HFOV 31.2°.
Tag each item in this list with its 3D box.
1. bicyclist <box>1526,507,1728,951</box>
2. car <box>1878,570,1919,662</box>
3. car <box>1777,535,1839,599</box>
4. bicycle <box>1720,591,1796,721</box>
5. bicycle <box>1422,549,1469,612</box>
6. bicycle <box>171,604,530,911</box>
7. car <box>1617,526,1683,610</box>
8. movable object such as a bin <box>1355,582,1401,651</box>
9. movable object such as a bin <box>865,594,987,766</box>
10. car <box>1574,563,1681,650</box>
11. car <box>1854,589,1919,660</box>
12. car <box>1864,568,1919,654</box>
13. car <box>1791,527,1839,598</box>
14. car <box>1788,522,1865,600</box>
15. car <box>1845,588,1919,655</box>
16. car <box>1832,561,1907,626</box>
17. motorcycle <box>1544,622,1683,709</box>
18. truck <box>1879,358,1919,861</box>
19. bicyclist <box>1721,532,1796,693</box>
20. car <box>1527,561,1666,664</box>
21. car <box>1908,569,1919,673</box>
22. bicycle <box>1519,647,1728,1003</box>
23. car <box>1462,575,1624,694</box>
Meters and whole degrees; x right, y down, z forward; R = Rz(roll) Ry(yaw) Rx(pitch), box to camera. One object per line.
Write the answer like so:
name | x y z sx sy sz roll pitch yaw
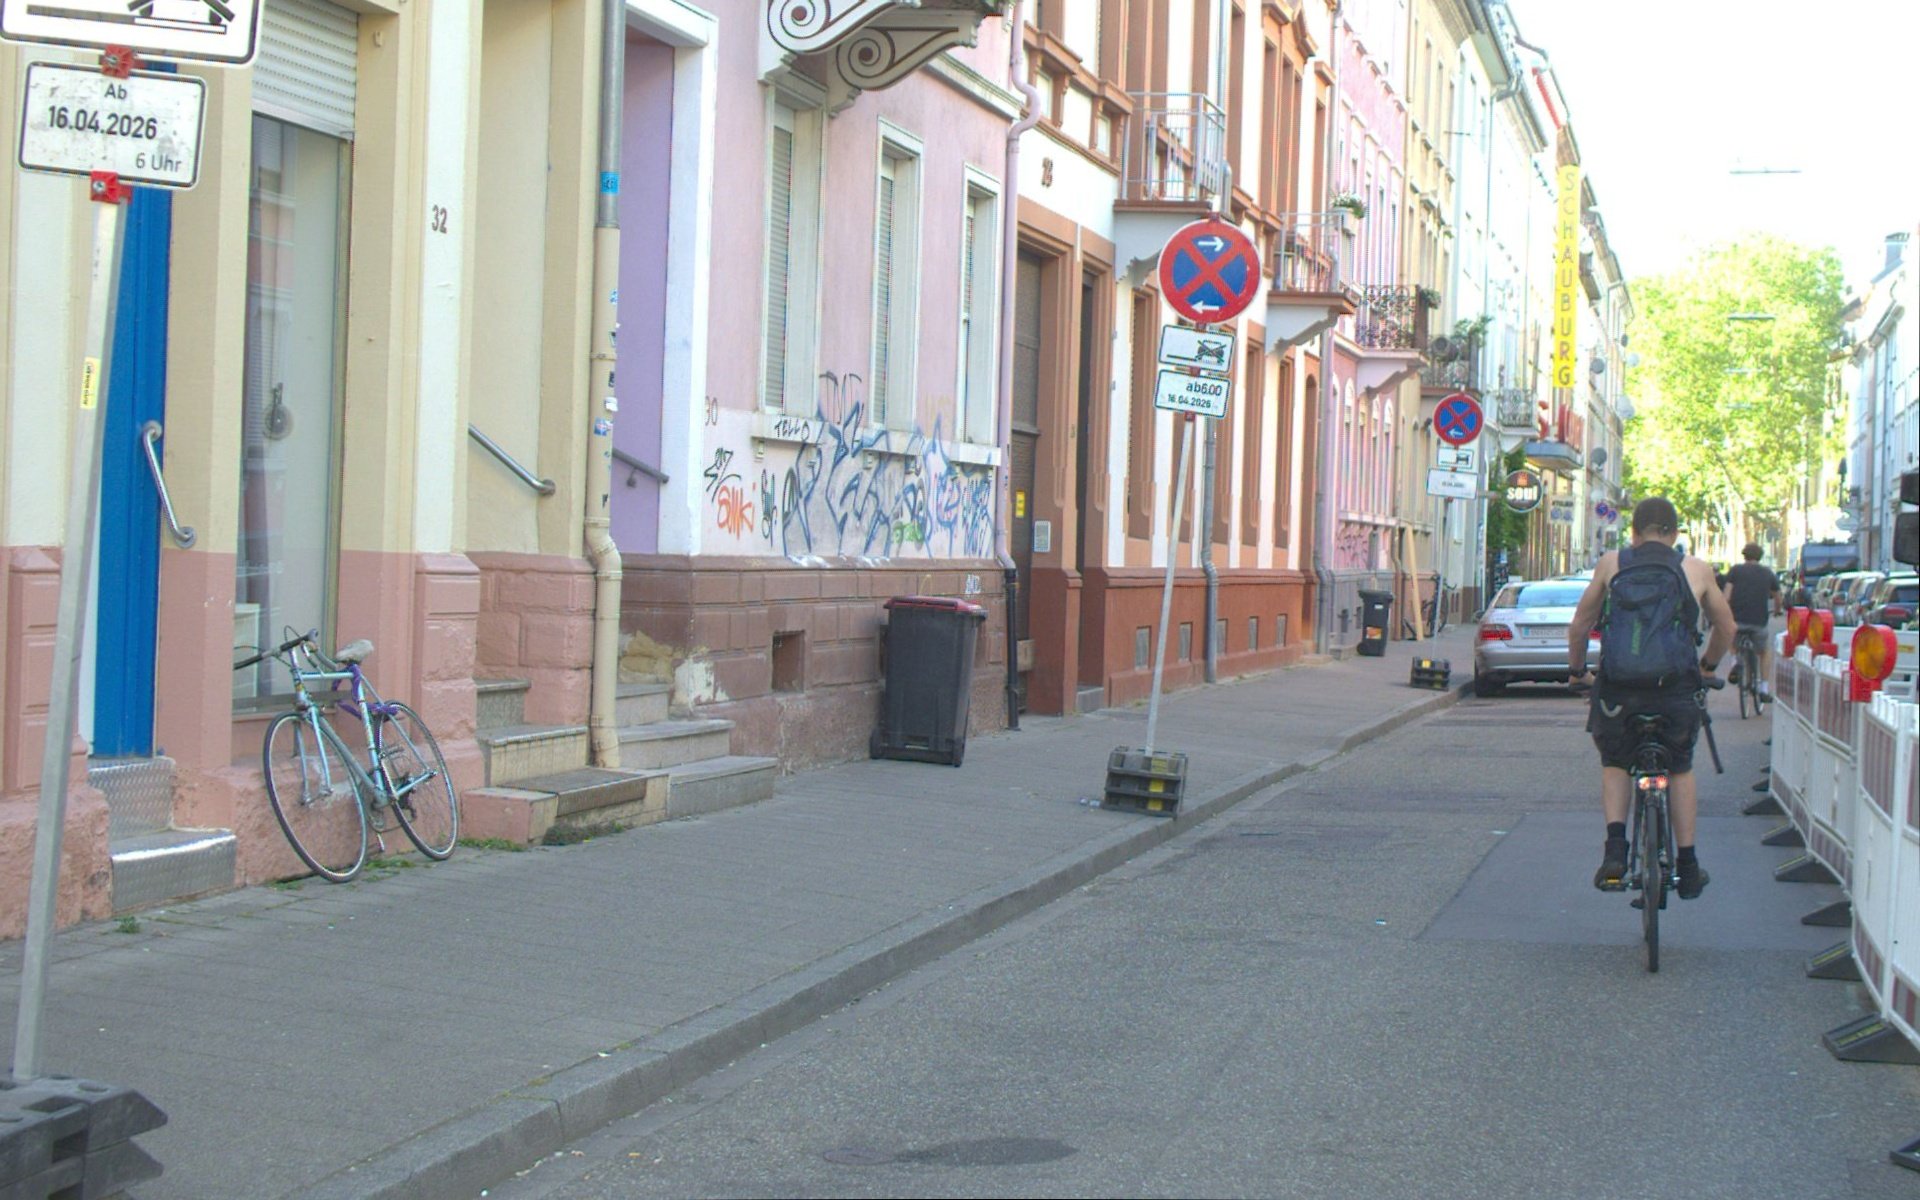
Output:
bicyclist | 2.588 0.470 13.275 0.702 1.627 1.089 1 0 13
car | 16.575 0.246 58.249 1.818 1.516 3.998 0 0 13
car | 34.531 -1.312 140.079 2.309 2.529 6.766 0 0 13
bicycle | 8.094 0.549 34.924 0.702 1.203 2.341 1 2 12
bicycle | 8.655 -0.351 61.246 0.593 1.085 2.078 3 1 13
bicycle | -2.310 0.566 13.269 0.622 1.019 1.817 5 2 13
car | 21.088 -0.985 105.163 1.910 2.488 4.163 1 1 11
movable object such as a bin | 5.883 0.235 48.426 0.544 0.941 0.487 3 1 14
movable object such as a bin | -0.212 0.498 21.662 0.606 1.032 0.596 3 1 11
car | 11.495 0.094 59.079 1.673 1.437 4.163 0 0 13
car | 18.864 0.474 68.856 1.711 1.378 3.998 0 0 13
car | 17.733 0.181 63.759 1.711 1.551 3.998 0 0 13
car | 46.231 -2.024 185.969 2.309 3.755 6.766 0 0 13
car | 28.986 -1.288 115.172 2.309 2.529 6.766 0 0 13
car | 20.043 0.445 74.176 1.711 1.378 3.998 0 0 13
car | 22.077 -0.157 83.538 1.621 1.545 3.998 0 0 13
motorcycle | 10.643 1.063 56.006 2.146 1.354 0.540 -1 1 -5
truck | 6.883 0.005 19.849 2.663 2.804 7.389 3 1 13
bicyclist | 8.098 0.118 34.889 0.702 1.599 0.812 1 2 12
car | 9.747 0.149 52.414 1.712 1.378 4.353 2 2 15
car | 14.334 0.281 48.097 1.818 1.433 4.788 0 0 13
bicycle | 2.622 0.815 13.423 0.702 1.204 2.341 1 0 13
car | 7.192 0.388 42.128 1.711 1.378 4.503 0 0 13
